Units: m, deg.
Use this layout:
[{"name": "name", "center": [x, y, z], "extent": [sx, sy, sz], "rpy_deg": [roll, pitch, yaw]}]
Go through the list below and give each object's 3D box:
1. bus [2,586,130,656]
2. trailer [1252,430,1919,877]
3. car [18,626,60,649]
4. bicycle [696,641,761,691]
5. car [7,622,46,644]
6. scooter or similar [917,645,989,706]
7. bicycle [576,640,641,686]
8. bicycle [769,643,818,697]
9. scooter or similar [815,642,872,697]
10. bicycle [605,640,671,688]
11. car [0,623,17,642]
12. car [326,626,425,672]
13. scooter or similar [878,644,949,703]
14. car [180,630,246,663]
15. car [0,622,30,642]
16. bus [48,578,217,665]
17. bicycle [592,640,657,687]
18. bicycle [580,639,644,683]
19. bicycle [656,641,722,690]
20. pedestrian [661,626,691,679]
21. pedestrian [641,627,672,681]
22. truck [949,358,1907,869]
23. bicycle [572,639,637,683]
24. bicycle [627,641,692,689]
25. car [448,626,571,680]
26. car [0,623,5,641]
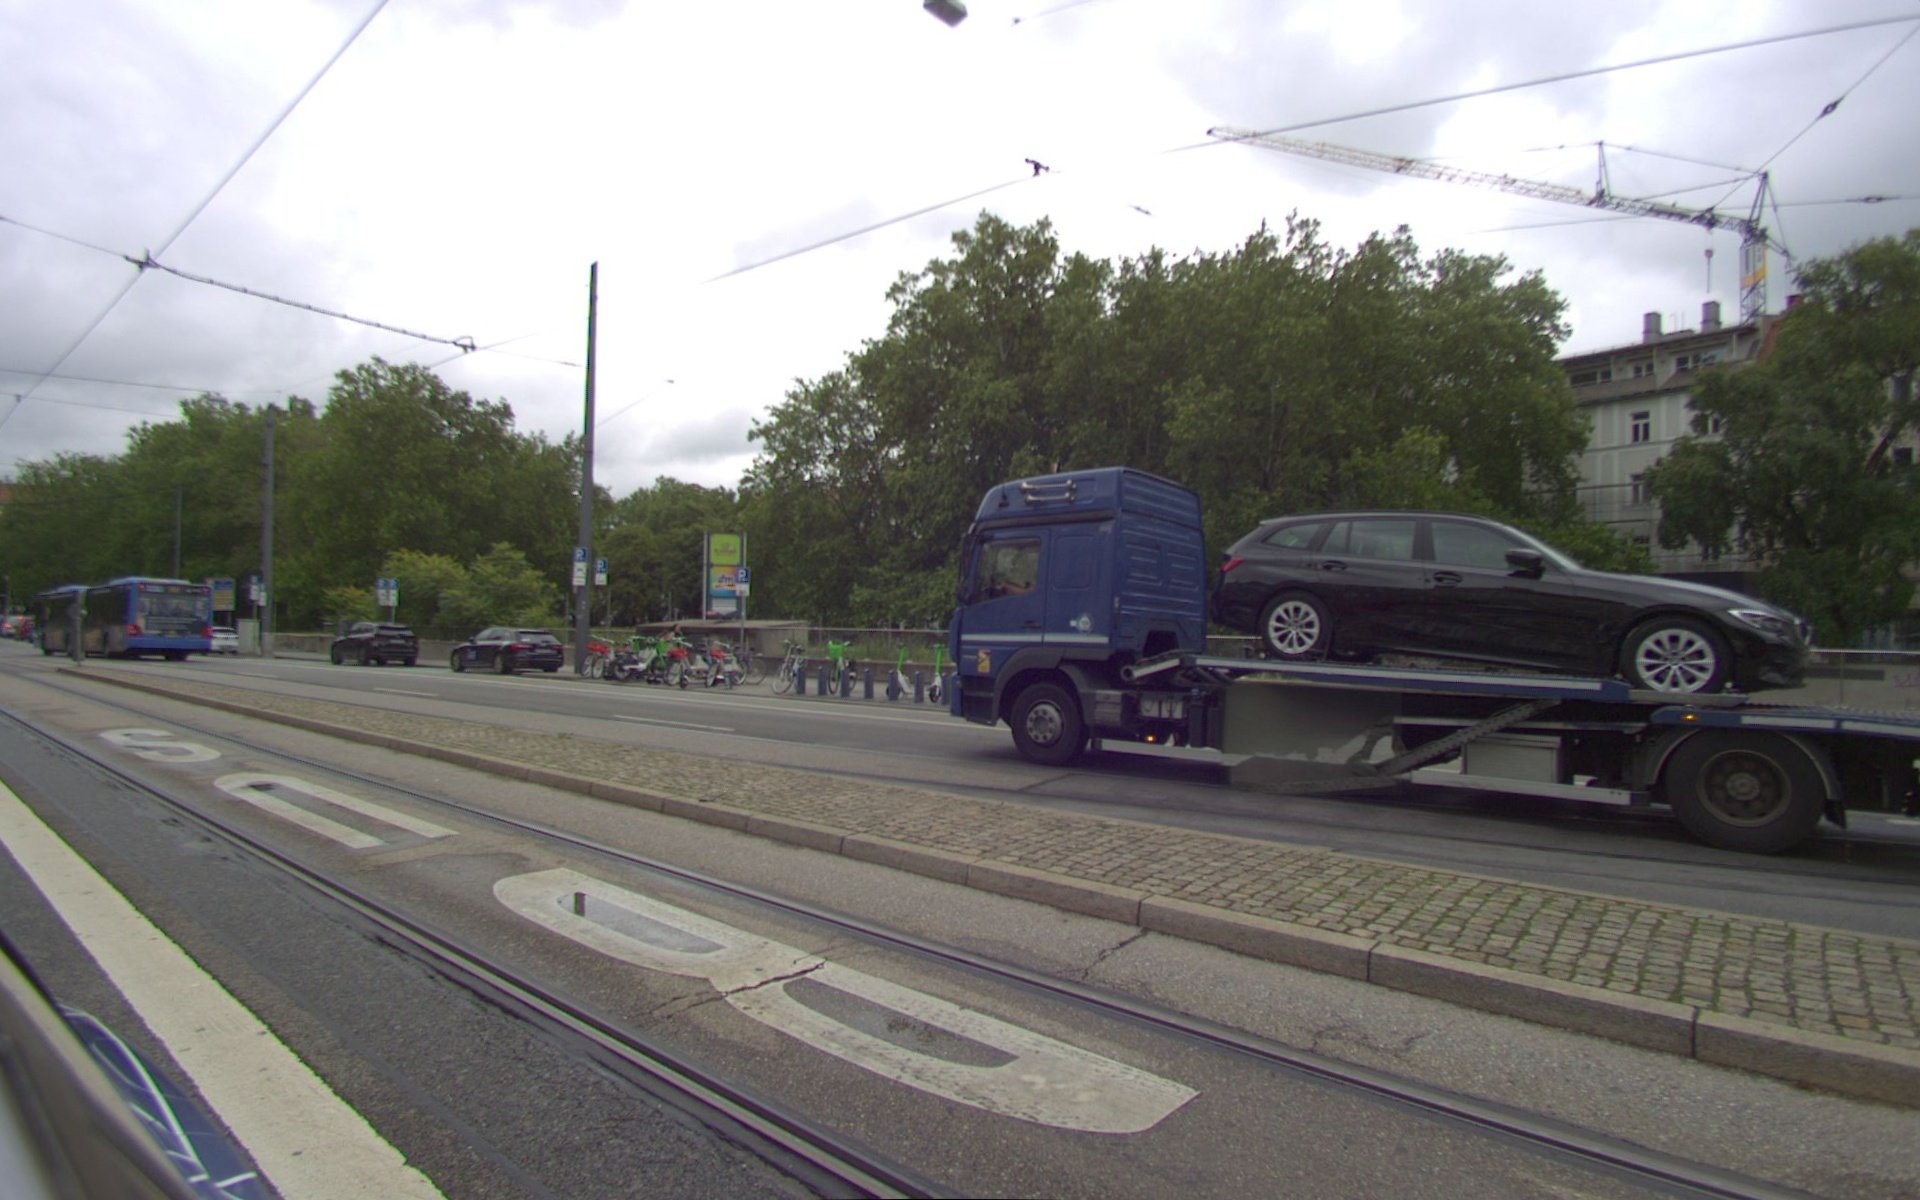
[{"name": "bus", "center": [-43.169, 1.026, 48.643], "extent": [12.834, 2.989, 2.599], "rpy_deg": [-1, -4, 40]}, {"name": "trailer", "center": [9.426, 0.353, 4.879], "extent": [15.620, 2.703, 2.584], "rpy_deg": [-1, -4, 39]}, {"name": "car", "center": [-66.963, 2.706, 73.558], "extent": [3.998, 1.655, 1.786], "rpy_deg": [-1, -2, 41]}, {"name": "bicycle", "center": [-5.715, 1.611, 25.033], "extent": [0.560, 1.181, 1.675], "rpy_deg": [-1, -2, 31]}, {"name": "car", "center": [-73.732, 2.569, 79.907], "extent": [3.998, 1.697, 1.786], "rpy_deg": [-1, -2, 41]}, {"name": "scooter or similar", "center": [-0.122, 1.535, 20.831], "extent": [0.561, 1.181, 1.671], "rpy_deg": [-1, -2, 38]}, {"name": "bicycle", "center": [-9.419, 1.662, 27.163], "extent": [0.504, 1.181, 1.673], "rpy_deg": [-1, -2, 34]}, {"name": "bicycle", "center": [-3.824, 1.585, 23.341], "extent": [0.556, 1.181, 1.687], "rpy_deg": [0, -2, 11]}, {"name": "scooter or similar", "center": [-2.640, 1.569, 23.060], "extent": [0.558, 1.181, 1.681], "rpy_deg": [0, -2, 22]}, {"name": "bicycle", "center": [-8.385, 1.648, 26.401], "extent": [0.560, 1.181, 1.675], "rpy_deg": [-1, -2, 31]}, {"name": "car", "center": [-87.549, 2.942, 92.323], "extent": [3.998, 1.697, 1.786], "rpy_deg": [-1, -2, 41]}, {"name": "car", "center": [-21.796, 1.778, 37.692], "extent": [4.099, 1.582, 1.973], "rpy_deg": [-1, -2, 41]}, {"name": "scooter or similar", "center": [-0.973, 1.546, 21.656], "extent": [0.561, 1.181, 1.671], "rpy_deg": [-1, -2, 38]}, {"name": "car", "center": [-37.875, 2.332, 51.287], "extent": [3.998, 1.542, 1.868], "rpy_deg": [-1, -3, 41]}, {"name": "car", "center": [-81.568, 2.713, 87.093], "extent": [3.998, 1.697, 1.786], "rpy_deg": [-1, -2, 41]}, {"name": "bus", "center": [-33.130, 0.890, 40.206], "extent": [13.404, 2.989, 2.599], "rpy_deg": [-1, -4, 40]}, {"name": "bicycle", "center": [-8.845, 1.654, 26.763], "extent": [0.504, 1.181, 1.674], "rpy_deg": [-1, -2, 33]}, {"name": "bicycle", "center": [-9.584, 1.664, 27.916], "extent": [0.505, 1.181, 1.672], "rpy_deg": [-1, -2, 37]}, {"name": "bicycle", "center": [-6.819, 1.626, 25.535], "extent": [0.560, 1.181, 1.675], "rpy_deg": [-1, -2, 31]}, {"name": "pedestrian", "center": [-8.555, 1.567, 30.508], "extent": [0.588, 1.570, 0.624], "rpy_deg": [-1, -3, 40]}, {"name": "pedestrian", "center": [-8.946, 1.575, 29.849], "extent": [0.588, 1.570, 0.624], "rpy_deg": [-1, -3, 40]}, {"name": "truck", "center": [3.636, 0.184, 9.642], "extent": [7.686, 3.111, 2.539], "rpy_deg": [-1, -4, 41]}, {"name": "bicycle", "center": [-9.934, 1.680, 28.348], "extent": [0.561, 1.181, 1.672], "rpy_deg": [-1, -2, 38]}, {"name": "bicycle", "center": [-7.648, 1.638, 25.829], "extent": [0.504, 1.181, 1.675], "rpy_deg": [-1, -2, 31]}, {"name": "car", "center": [-13.969, 1.599, 31.278], "extent": [4.231, 1.537, 1.840], "rpy_deg": [-1, -3, 41]}, {"name": "car", "center": [-93.072, 3.018, 97.025], "extent": [3.998, 1.697, 1.786], "rpy_deg": [-1, -2, 41]}]
